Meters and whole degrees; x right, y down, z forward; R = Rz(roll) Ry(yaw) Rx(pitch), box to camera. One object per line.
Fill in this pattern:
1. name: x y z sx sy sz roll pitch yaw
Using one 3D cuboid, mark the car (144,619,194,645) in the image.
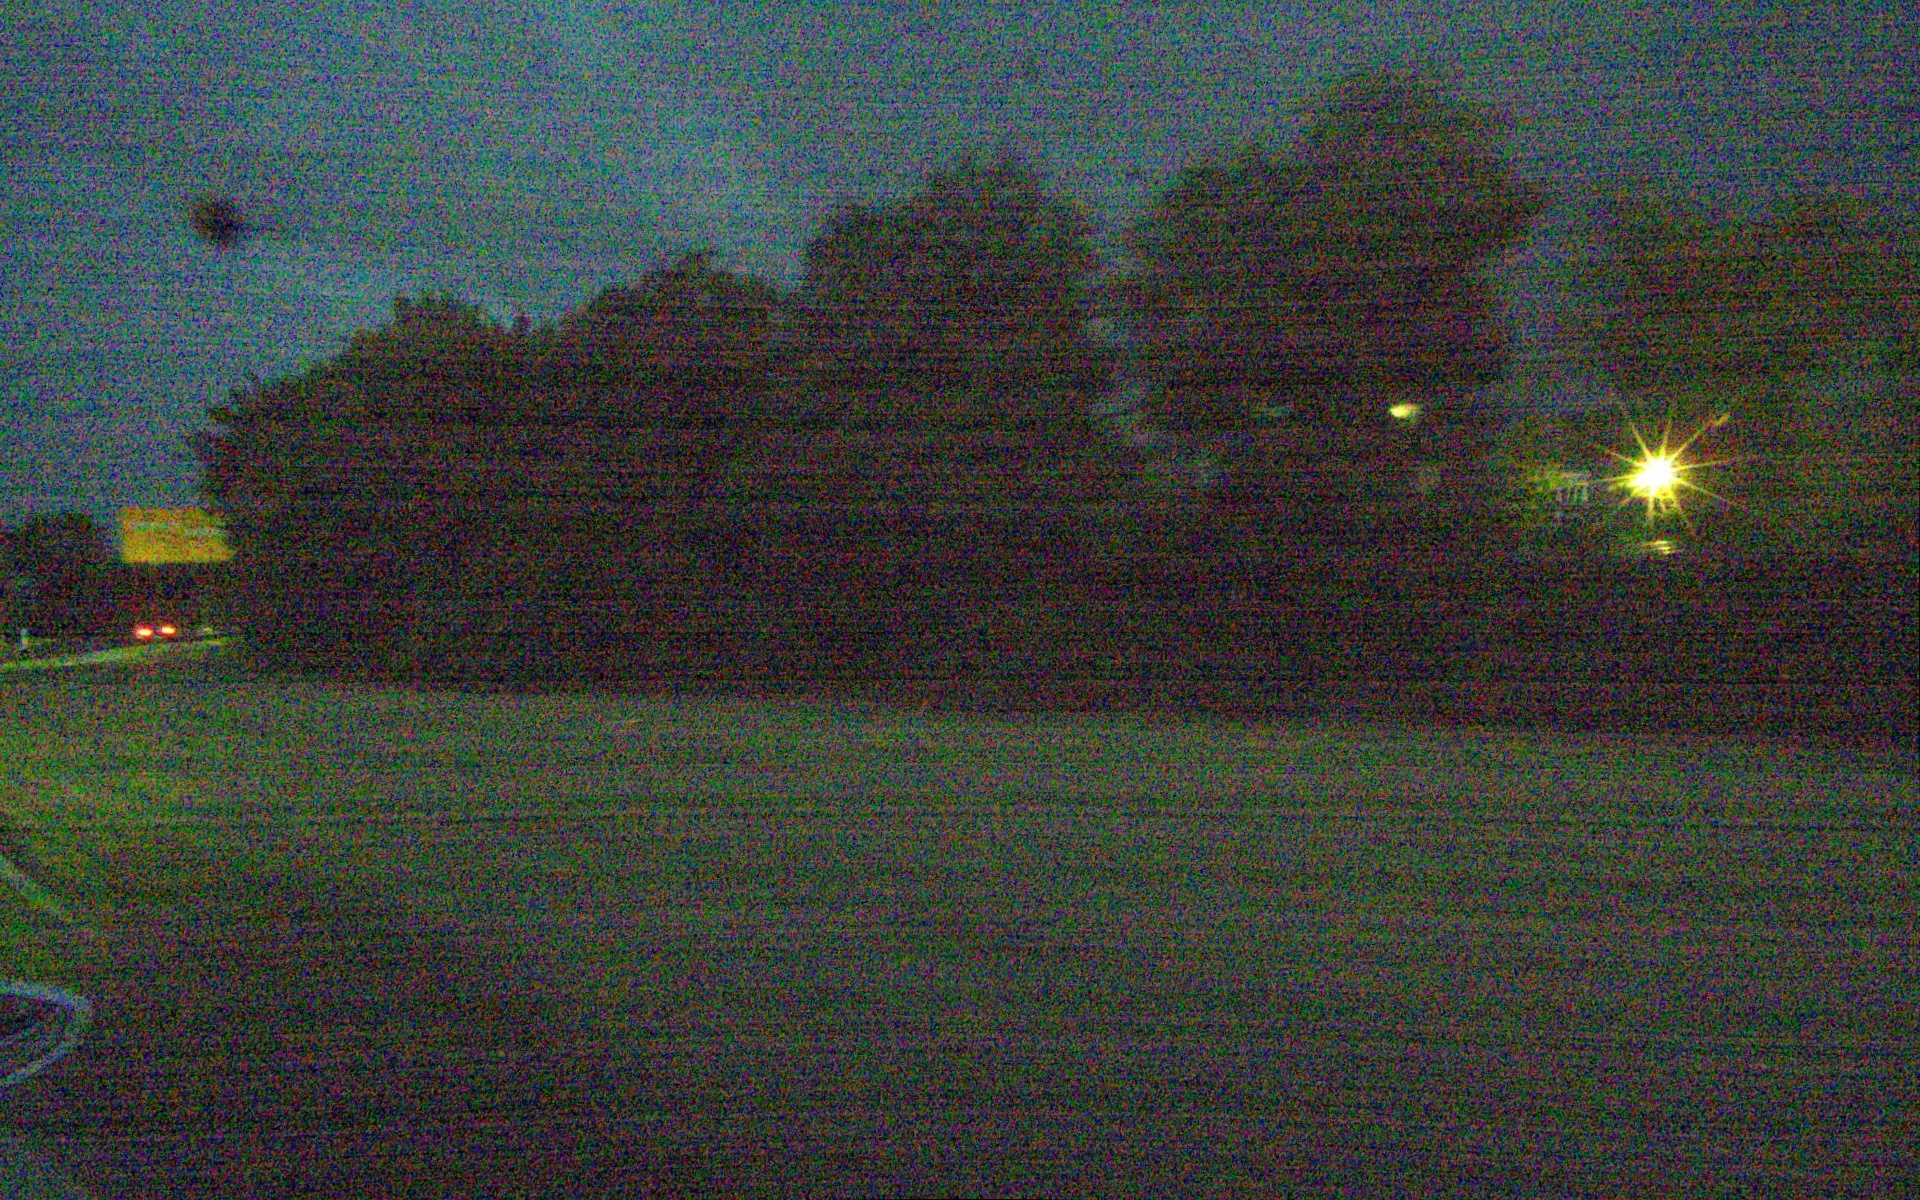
1. car: -52.525 2.093 66.551 1.971 1.619 3.979 -1 0 -30
